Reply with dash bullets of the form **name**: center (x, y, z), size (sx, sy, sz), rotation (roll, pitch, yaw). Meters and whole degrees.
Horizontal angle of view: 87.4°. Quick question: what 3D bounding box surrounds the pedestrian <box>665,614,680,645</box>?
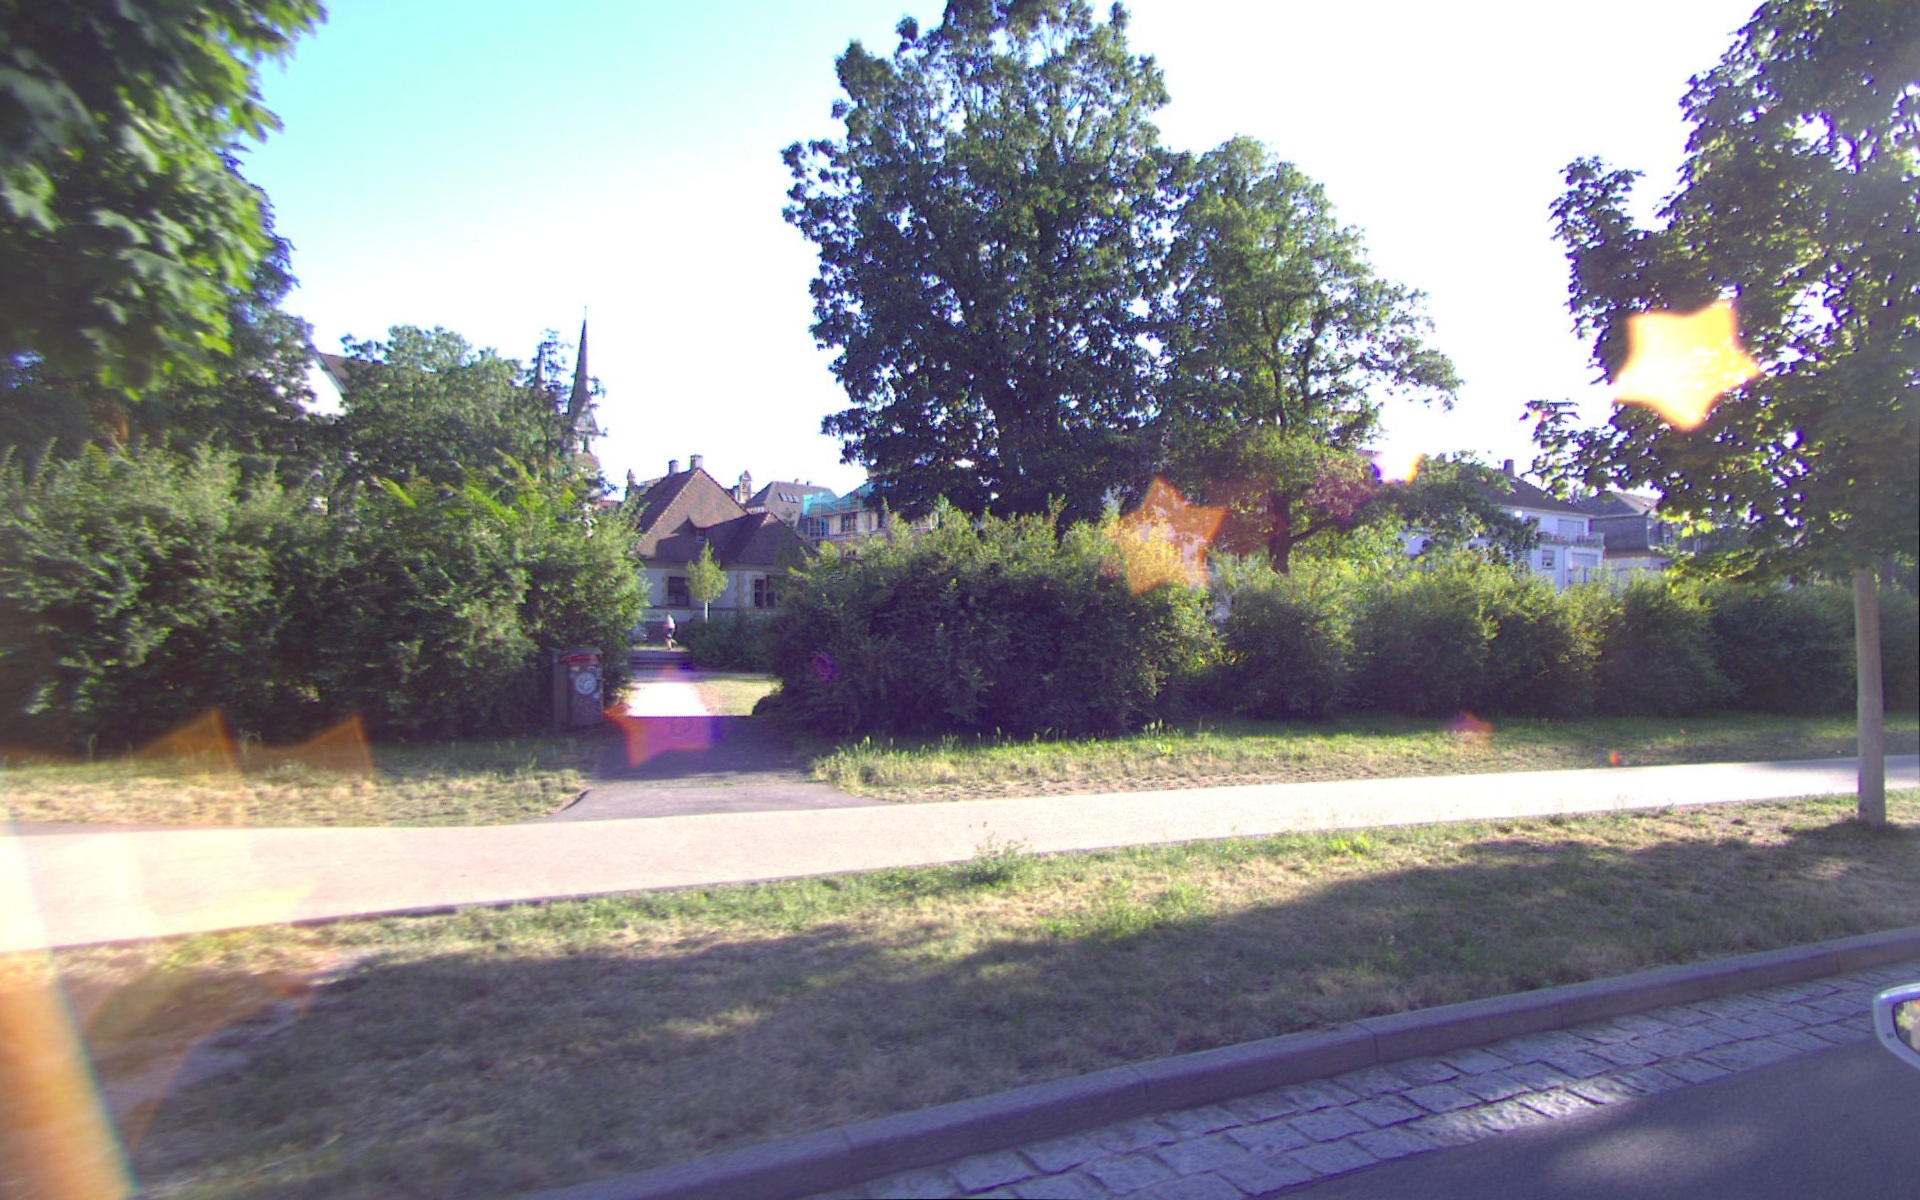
- **pedestrian**: center (-13.094, 1.338, 45.760), size (0.540, 1.377, 0.703), rotation (2, -1, -23)
